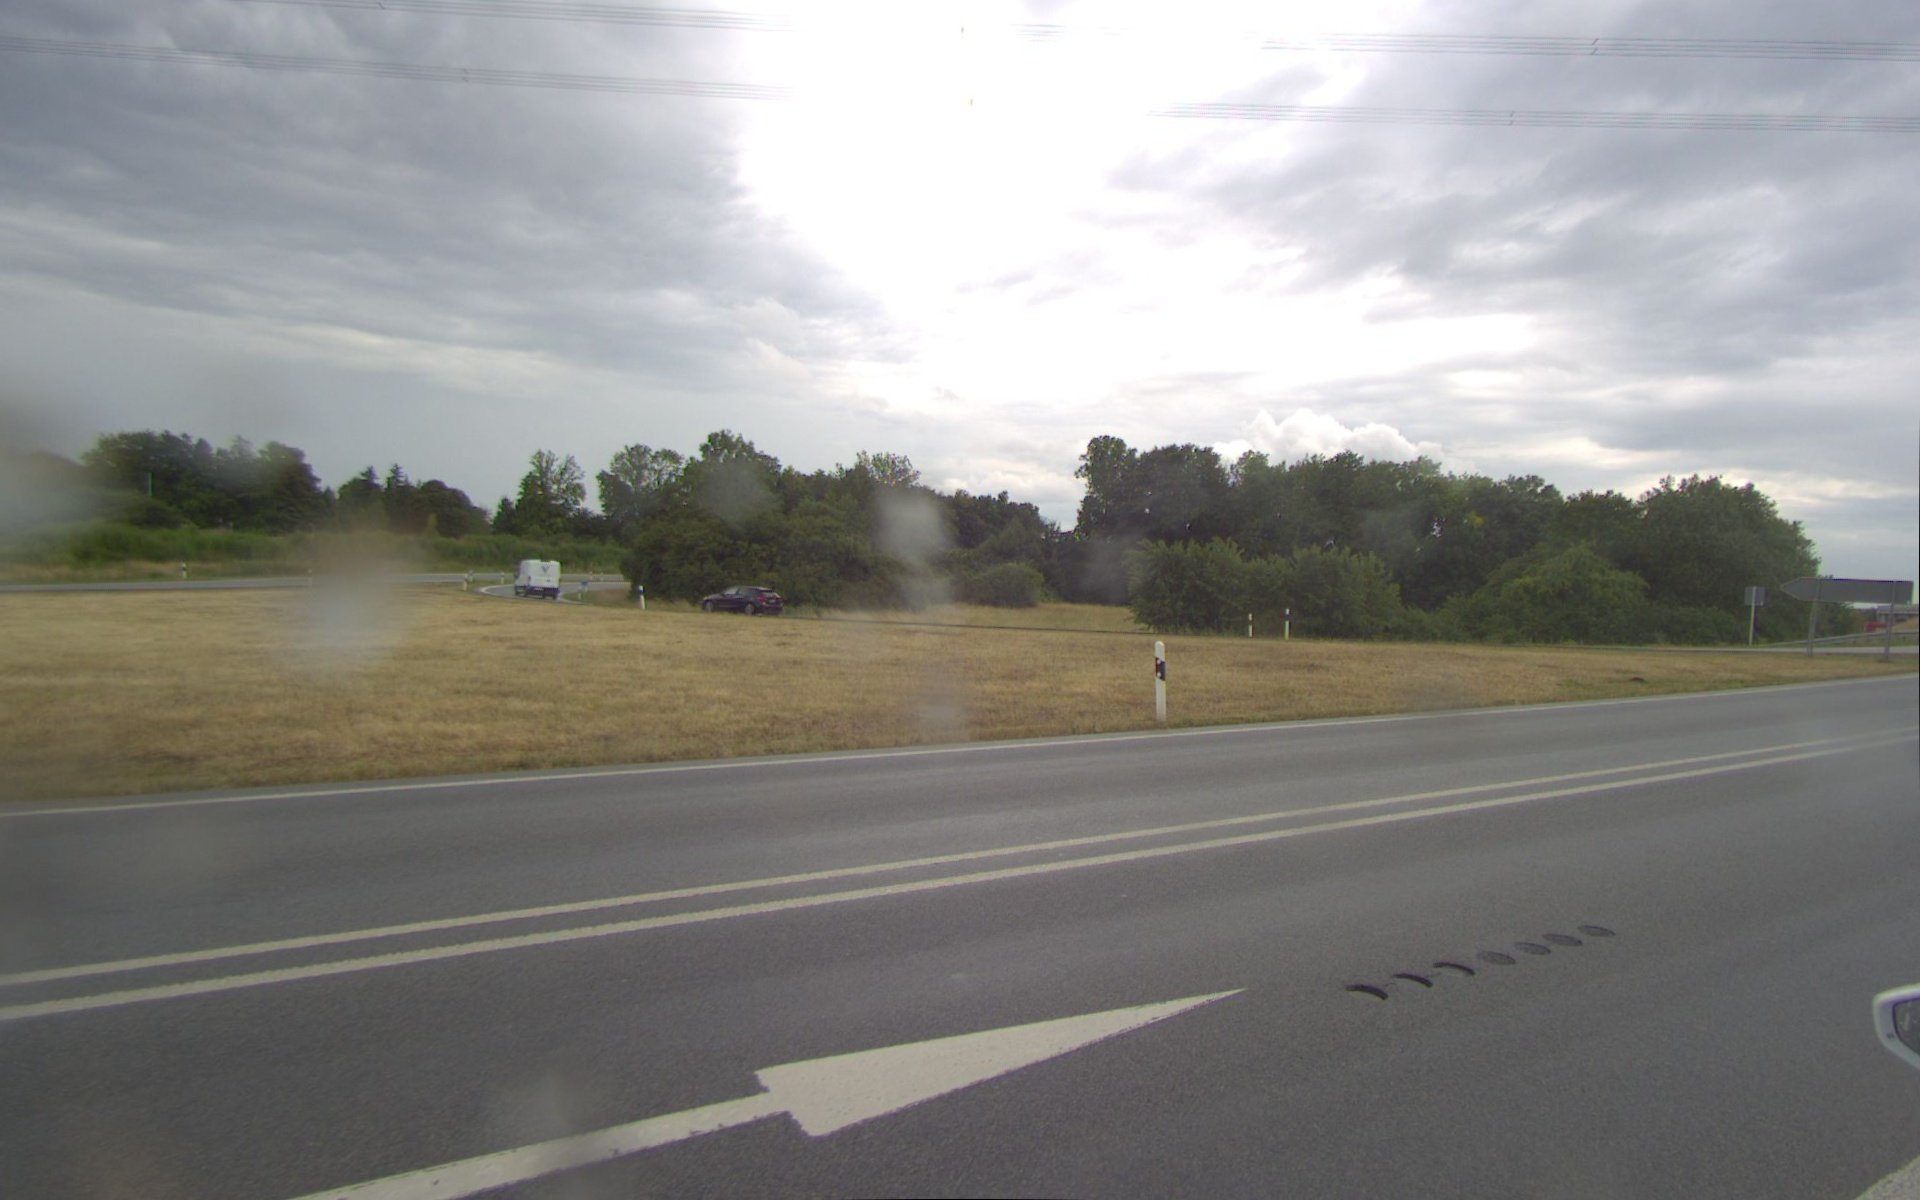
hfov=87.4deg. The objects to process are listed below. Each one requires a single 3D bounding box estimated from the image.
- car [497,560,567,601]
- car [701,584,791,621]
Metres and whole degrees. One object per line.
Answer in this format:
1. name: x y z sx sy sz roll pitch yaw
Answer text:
1. car: -28.029 -1.282 65.731 2.425 2.422 5.399 3 0 -43
2. car: -10.314 0.111 48.449 3.844 1.625 1.985 2 0 28
